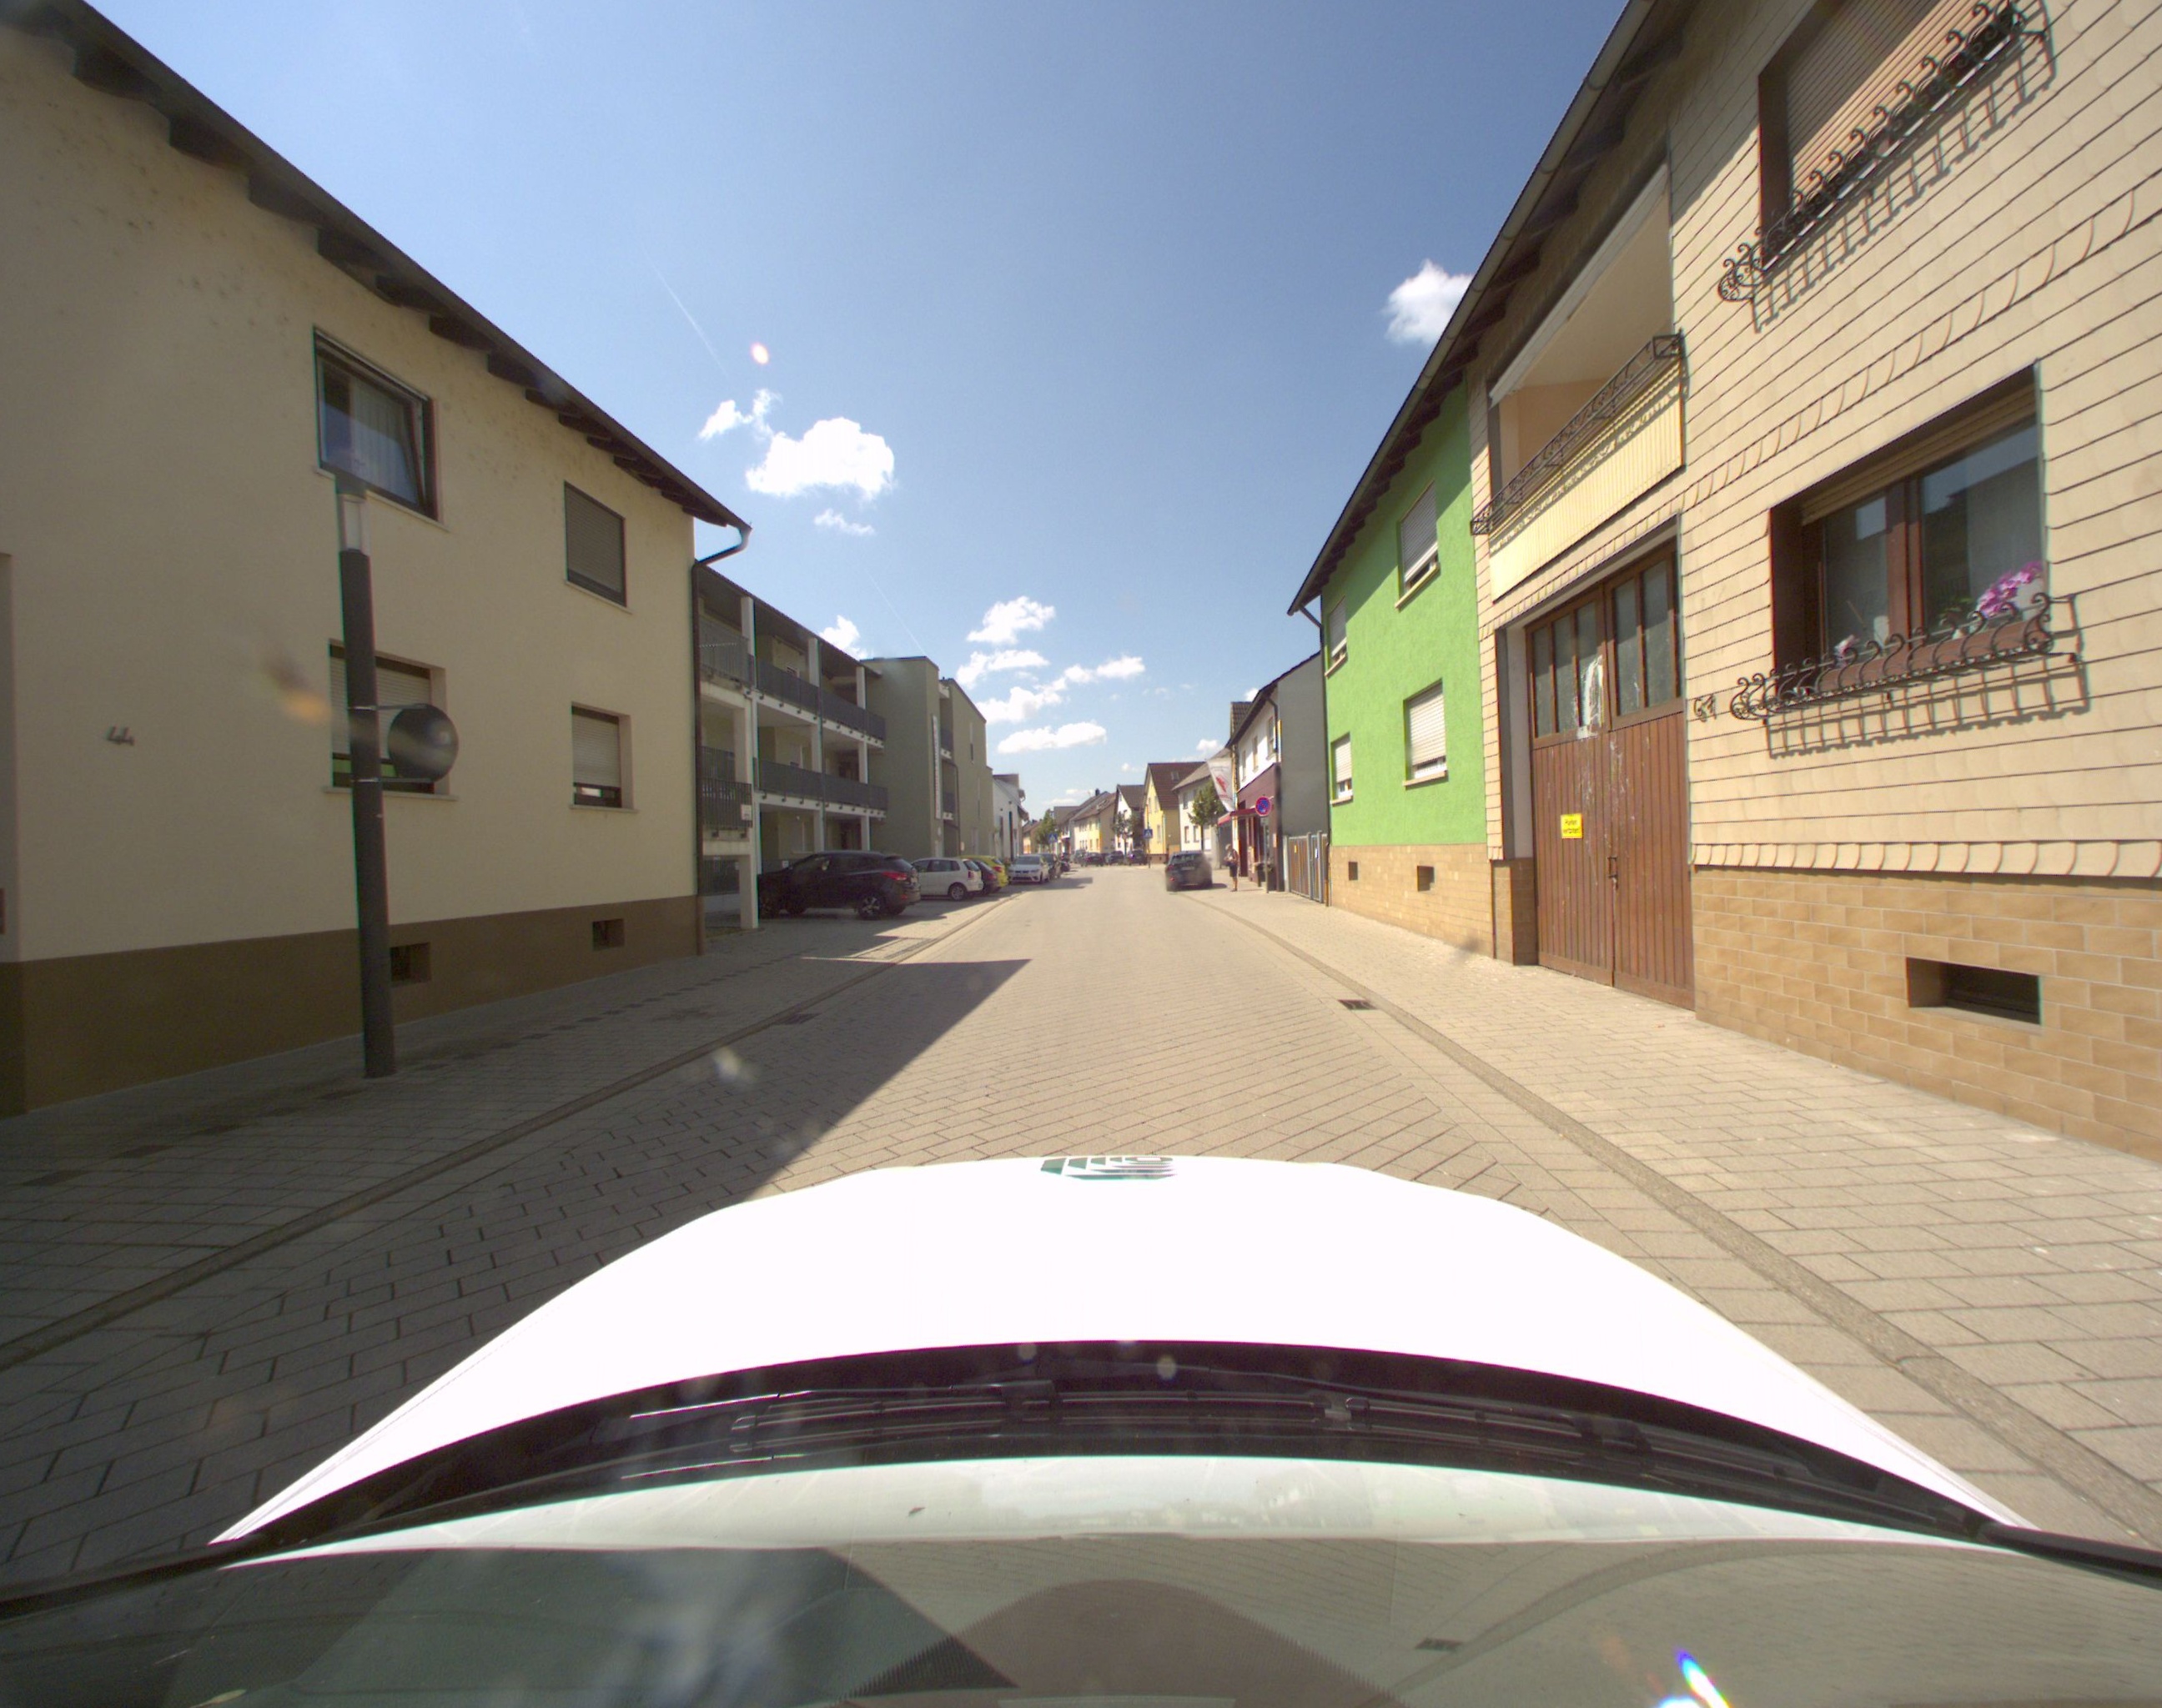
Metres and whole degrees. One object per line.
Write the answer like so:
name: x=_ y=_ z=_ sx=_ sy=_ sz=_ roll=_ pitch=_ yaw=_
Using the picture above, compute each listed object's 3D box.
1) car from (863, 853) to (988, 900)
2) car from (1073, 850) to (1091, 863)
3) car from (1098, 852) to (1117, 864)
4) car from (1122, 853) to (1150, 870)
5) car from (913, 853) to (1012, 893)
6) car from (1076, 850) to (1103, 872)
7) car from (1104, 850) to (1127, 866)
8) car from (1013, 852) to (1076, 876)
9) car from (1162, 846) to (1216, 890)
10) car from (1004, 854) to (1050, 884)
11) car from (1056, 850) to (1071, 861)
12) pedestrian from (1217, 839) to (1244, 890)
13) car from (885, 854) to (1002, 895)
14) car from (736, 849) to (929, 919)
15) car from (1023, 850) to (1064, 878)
car: x=-5.340 y=0.745 z=28.207 sx=3.881 sy=1.502 sz=1.754 roll=0 pitch=1 yaw=6
car: x=0.159 y=0.302 z=109.683 sx=1.876 sy=1.591 sz=3.990 roll=-3 pitch=0 yaw=-7
car: x=3.083 y=0.458 z=96.163 sx=1.709 sy=1.387 sz=3.697 roll=-3 pitch=0 yaw=-7
car: x=5.299 y=0.754 z=78.872 sx=1.827 sy=1.471 sz=4.266 roll=-4 pitch=0 yaw=-7
car: x=-4.794 y=0.747 z=33.176 sx=3.674 sy=1.525 sz=1.675 roll=0 pitch=1 yaw=5
car: x=0.821 y=0.671 z=82.440 sx=1.992 sy=2.057 sz=4.363 roll=-3 pitch=0 yaw=-7
car: x=3.741 y=0.402 z=88.447 sx=1.845 sy=1.562 sz=3.684 roll=-3 pitch=0 yaw=-7
car: x=-2.518 y=0.677 z=56.910 sx=4.086 sy=1.438 sz=1.768 roll=-3 pitch=0 yaw=5
car: x=4.265 y=0.498 z=32.002 sx=1.848 sy=1.459 sz=4.596 roll=-4 pitch=0 yaw=8
car: x=-2.691 y=0.733 z=41.494 sx=1.749 sy=1.411 sz=3.883 roll=0 pitch=1 yaw=5
car: x=-2.674 y=0.199 z=124.167 sx=1.752 sy=1.492 sz=3.990 roll=-3 pitch=0 yaw=-7
pedestrian: x=5.071 y=0.361 z=27.616 sx=0.726 sy=1.640 sz=0.750 roll=-5 pitch=-1 yaw=7
car: x=-5.091 y=0.740 z=30.405 sx=3.968 sy=1.441 sz=1.693 roll=1 pitch=0 yaw=4
car: x=-6.113 y=0.707 z=20.333 sx=4.200 sy=1.658 sz=1.786 roll=0 pitch=0 yaw=4
car: x=-2.117 y=0.542 z=47.233 sx=1.805 sy=1.490 sz=4.284 roll=-1 pitch=1 yaw=5
